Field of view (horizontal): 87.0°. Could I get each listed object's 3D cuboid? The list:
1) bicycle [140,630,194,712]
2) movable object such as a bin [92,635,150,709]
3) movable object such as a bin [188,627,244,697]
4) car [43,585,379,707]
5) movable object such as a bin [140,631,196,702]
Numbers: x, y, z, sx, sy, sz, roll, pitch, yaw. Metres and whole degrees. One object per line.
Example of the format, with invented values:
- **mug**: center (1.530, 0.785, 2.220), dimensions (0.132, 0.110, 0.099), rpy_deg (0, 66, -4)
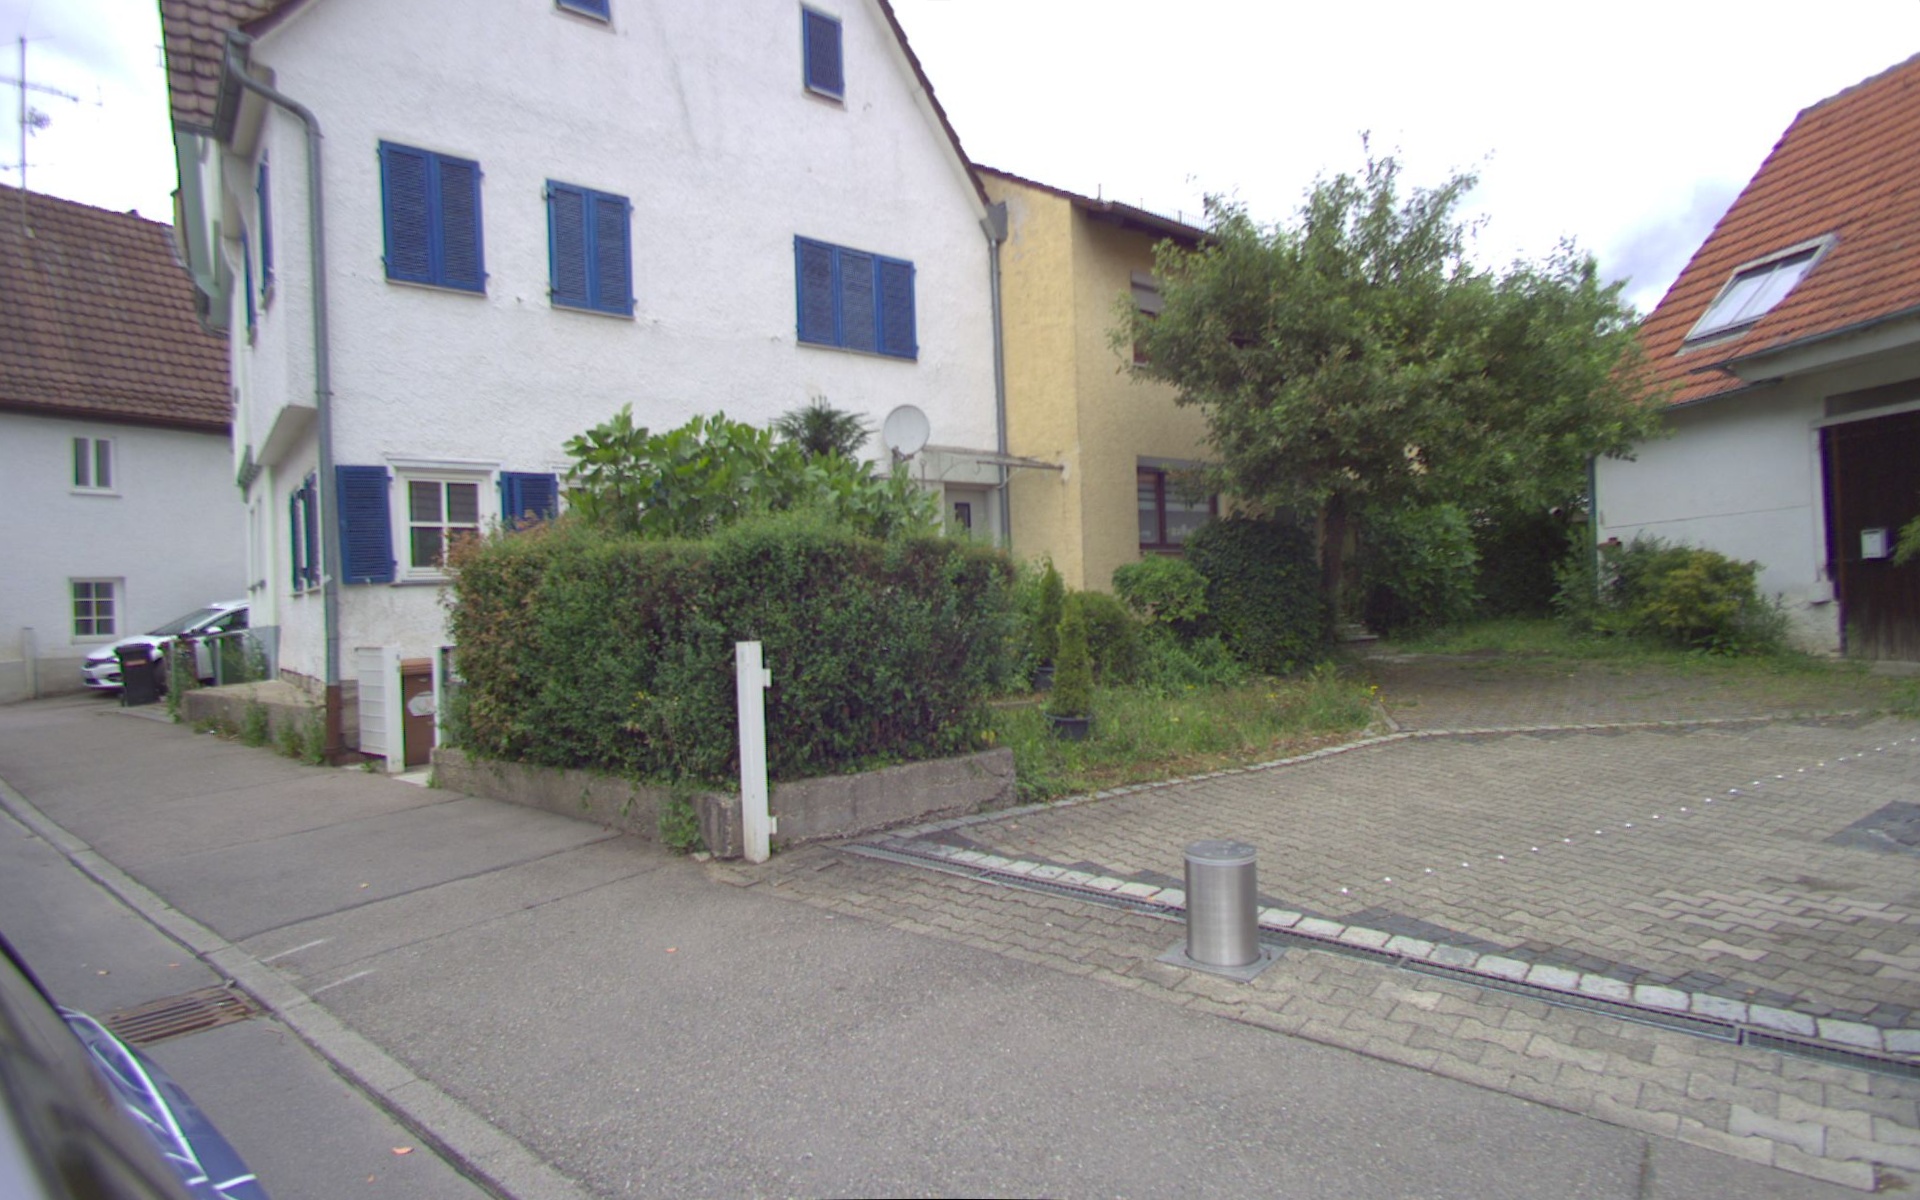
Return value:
- **bicycle**: center (-11.301, 0.973, 14.453), dimensions (0.437, 1.046, 2.097), rpy_deg (-7, 3, -36)
- **movable object such as a bin**: center (-12.444, 1.065, 15.015), dimensions (0.546, 1.007, 0.587), rpy_deg (-8, 2, -40)
- **movable object such as a bin**: center (-11.705, 0.963, 15.917), dimensions (0.549, 1.007, 0.623), rpy_deg (-9, 4, -40)
- **car**: center (-13.545, 0.710, 18.611), dimensions (1.973, 1.510, 4.502), rpy_deg (1, 7, 34)
- **movable object such as a bin**: center (-12.213, 1.022, 15.605), dimensions (0.562, 1.007, 0.600), rpy_deg (-8, 2, -41)
